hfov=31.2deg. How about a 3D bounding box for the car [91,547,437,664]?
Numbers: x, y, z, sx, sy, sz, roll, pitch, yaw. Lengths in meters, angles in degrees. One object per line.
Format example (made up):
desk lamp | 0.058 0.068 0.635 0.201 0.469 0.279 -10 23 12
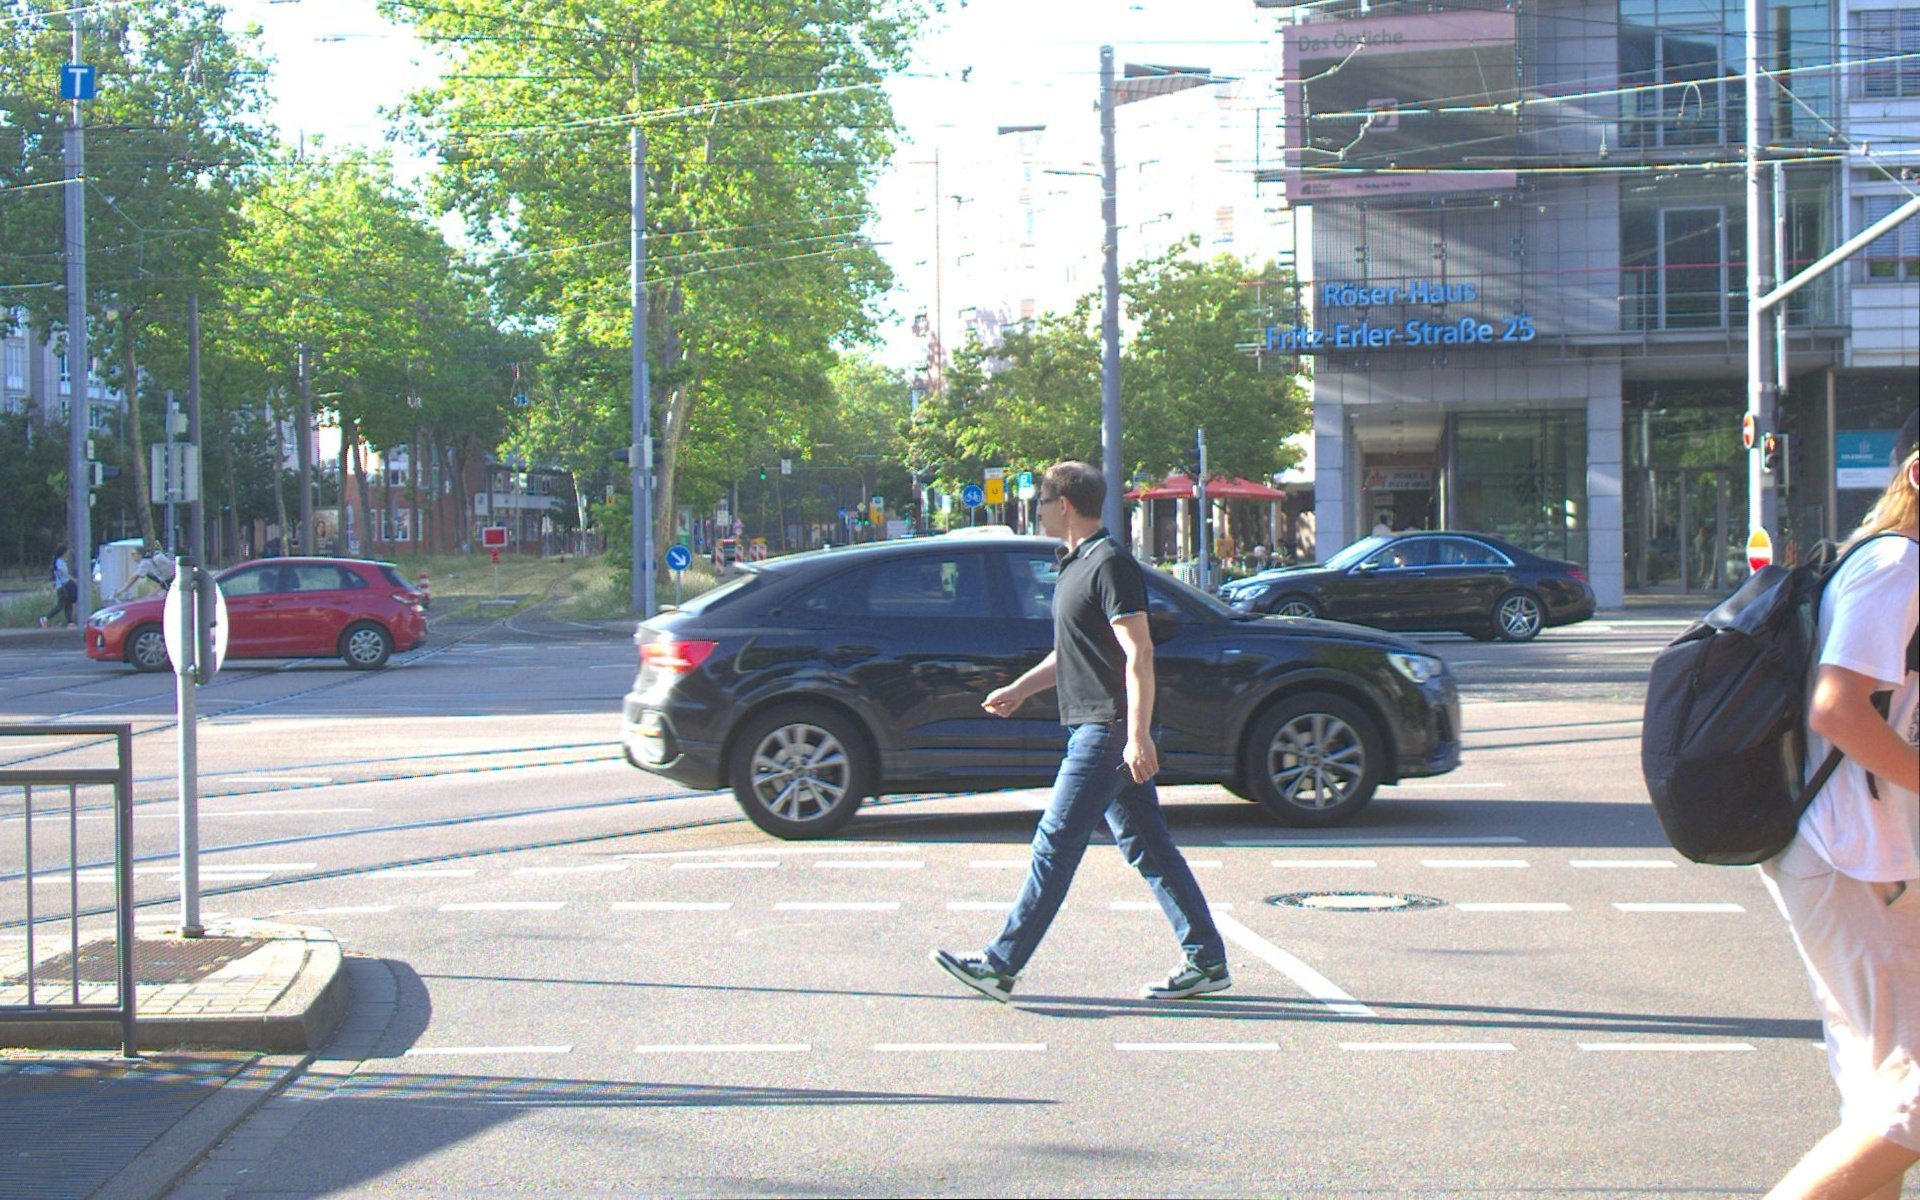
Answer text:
car | -8.896 0.051 44.249 4.240 1.387 1.796 -1 1 -8

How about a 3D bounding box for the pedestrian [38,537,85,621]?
pedestrian | -16.408 -0.389 62.788 0.754 1.525 0.508 0 1 -7

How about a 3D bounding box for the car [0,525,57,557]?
car | -47.198 -2.945 171.209 3.987 1.547 1.607 1 1 -31

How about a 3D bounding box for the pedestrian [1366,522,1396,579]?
pedestrian | 10.904 -1.288 89.088 0.739 1.460 0.536 -1 1 9

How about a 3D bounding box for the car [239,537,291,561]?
car | -44.012 -3.228 217.800 1.994 1.503 3.999 -1 1 7

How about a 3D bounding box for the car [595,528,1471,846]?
car | 0.337 0.422 18.498 4.481 1.577 1.825 -1 1 -3

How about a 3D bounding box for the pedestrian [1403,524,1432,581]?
pedestrian | 11.811 -1.224 88.803 0.706 1.460 0.384 -1 1 9

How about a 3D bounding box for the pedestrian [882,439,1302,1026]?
pedestrian | 0.403 0.414 11.231 1.208 1.816 1.042 1 0 -6

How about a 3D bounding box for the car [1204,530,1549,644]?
car | 5.572 -0.194 46.189 4.239 1.429 1.796 -1 1 -10

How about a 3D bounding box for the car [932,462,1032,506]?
car | 0.917 -4.762 141.282 3.764 1.744 1.780 1 0 14

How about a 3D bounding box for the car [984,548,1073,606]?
car | 1.624 -0.577 82.926 1.993 1.327 4.000 -1 1 -1

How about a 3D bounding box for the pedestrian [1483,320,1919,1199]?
pedestrian | 1.529 0.492 5.883 1.073 1.865 0.739 1 0 -7

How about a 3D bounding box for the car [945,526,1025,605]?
car | 0.635 -0.917 89.762 1.993 1.985 4.000 -1 1 -1

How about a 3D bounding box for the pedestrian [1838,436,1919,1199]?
pedestrian | 1.930 0.608 4.955 1.072 1.676 0.758 1 0 -7

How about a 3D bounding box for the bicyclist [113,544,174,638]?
bicyclist | -11.982 -0.139 50.444 0.818 1.362 0.400 -1 1 -19

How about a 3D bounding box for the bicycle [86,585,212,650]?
bicycle | -11.903 0.256 50.471 1.741 0.896 0.409 -1 1 -19

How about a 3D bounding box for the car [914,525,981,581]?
car | -0.390 -1.450 105.072 1.993 1.656 4.000 -1 1 -1

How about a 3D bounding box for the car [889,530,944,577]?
car | -1.600 -1.727 126.789 1.993 1.656 4.000 -1 1 -1
